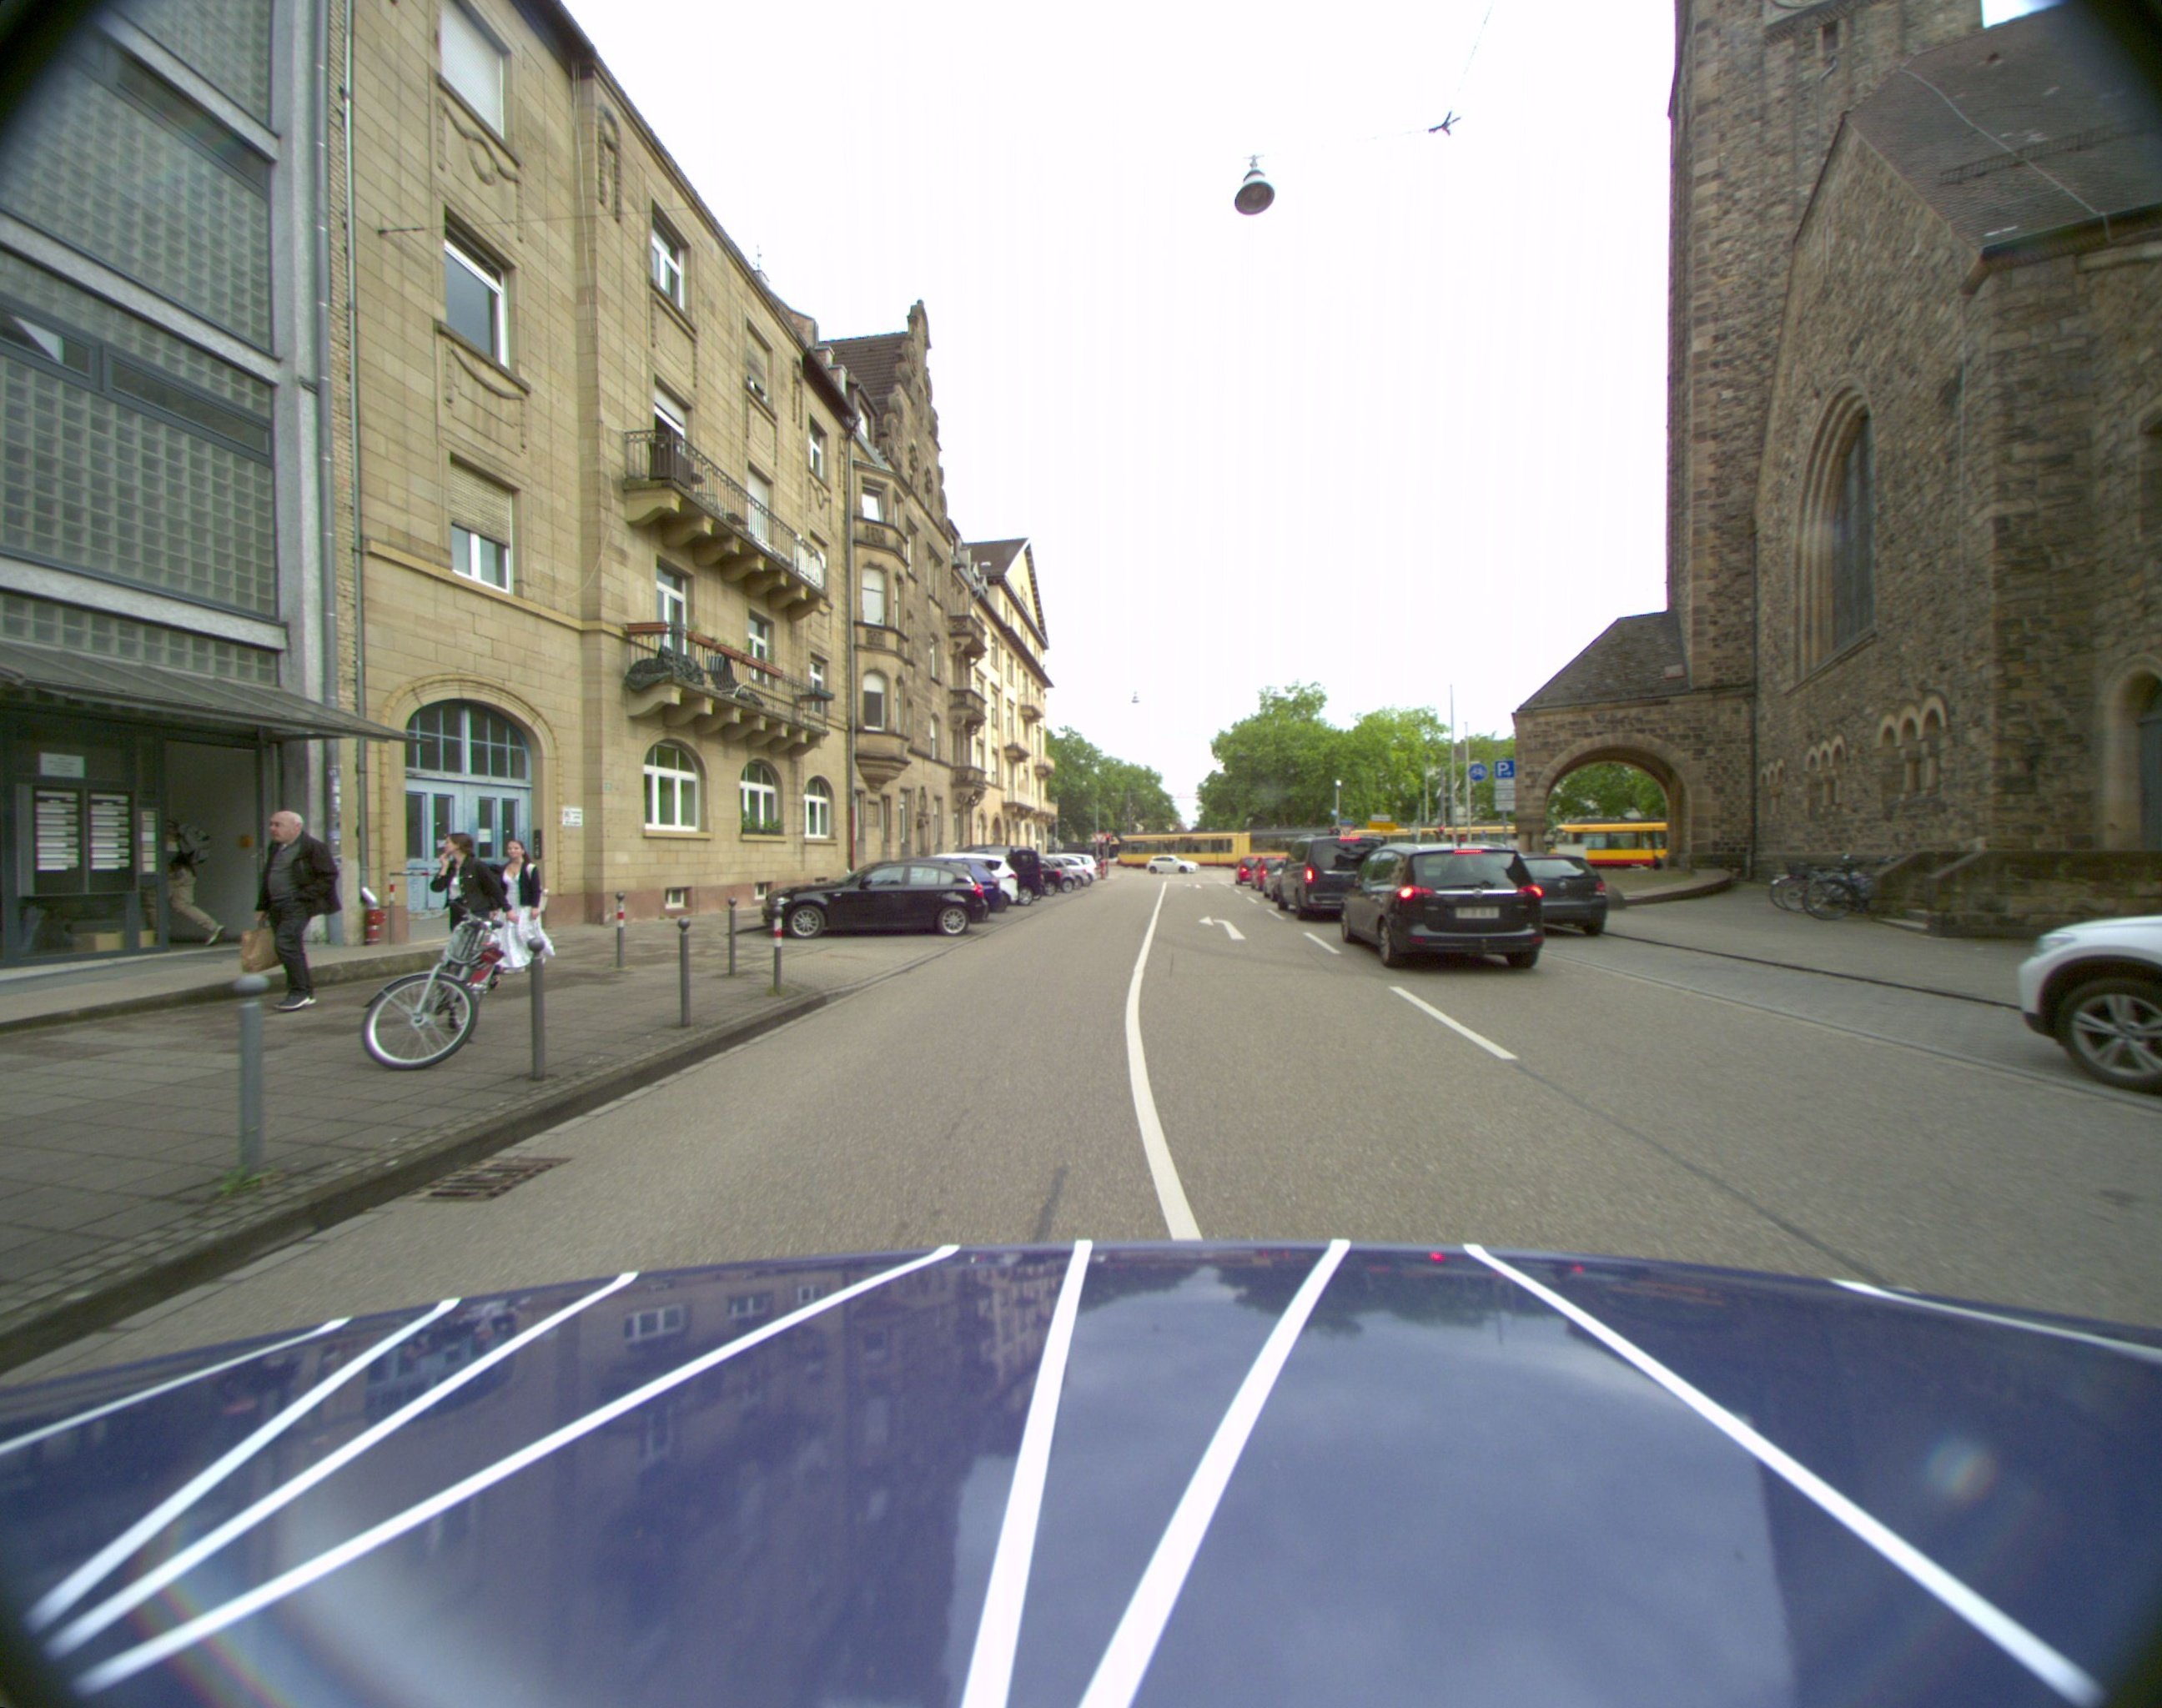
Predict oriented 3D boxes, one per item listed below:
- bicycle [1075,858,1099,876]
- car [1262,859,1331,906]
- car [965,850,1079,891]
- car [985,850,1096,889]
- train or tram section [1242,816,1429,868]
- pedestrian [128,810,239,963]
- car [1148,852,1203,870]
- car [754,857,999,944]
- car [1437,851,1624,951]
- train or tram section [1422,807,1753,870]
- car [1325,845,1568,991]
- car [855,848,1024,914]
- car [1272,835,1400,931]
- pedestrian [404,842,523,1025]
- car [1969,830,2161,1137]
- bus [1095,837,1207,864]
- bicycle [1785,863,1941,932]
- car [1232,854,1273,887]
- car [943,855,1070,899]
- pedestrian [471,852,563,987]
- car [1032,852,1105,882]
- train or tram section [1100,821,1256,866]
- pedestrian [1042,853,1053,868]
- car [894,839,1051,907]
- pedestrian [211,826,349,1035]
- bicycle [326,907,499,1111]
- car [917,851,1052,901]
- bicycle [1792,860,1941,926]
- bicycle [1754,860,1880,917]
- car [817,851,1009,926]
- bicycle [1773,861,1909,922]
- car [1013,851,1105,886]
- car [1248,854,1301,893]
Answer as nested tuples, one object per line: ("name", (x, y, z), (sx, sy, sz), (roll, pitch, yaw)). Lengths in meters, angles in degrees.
("bicycle", (0.399, 0.854, 51.278), (1.570, 1.121, 0.476), (3, 2, 6))
("car", (7.027, 0.873, 25.121), (1.707, 1.279, 4.044), (2, 1, 9))
("car", (-2.482, 0.719, 32.182), (4.474, 1.564, 1.743), (2, 0, -31))
("car", (-1.872, 0.739, 35.410), (4.760, 1.676, 1.932), (1, 1, -29))
("train or tram section", (21.798, -0.989, 65.995), (14.996, 4.070, 3.588), (0, 2, 33))
("pedestrian", (-10.506, 0.373, 8.909), (0.541, 1.734, 0.568), (-1, 2, 6))
("car", (7.623, 0.593, 61.637), (3.989, 1.387, 1.884), (-1, 0, 33))
("car", (-3.908, 0.886, 14.618), (4.267, 1.469, 1.681), (3, -1, -25))
("car", (8.213, 0.770, 14.297), (1.649, 1.500, 3.773), (-2, 1, 7))
("train or tram section", (36.383, -1.027, 56.387), (19.891, 4.070, 3.634), (0, 2, 33))
("car", (4.936, 0.747, 11.038), (1.848, 1.674, 4.551), (-1, 0, 8))
("car", (-3.722, 0.725, 20.178), (4.008, 1.592, 1.761), (3, -1, -33))
("car", (5.859, 0.603, 18.149), (1.915, 1.943, 5.287), (-1, 0, 8))
("pedestrian", (-5.896, 0.721, 7.286), (0.519, 1.653, 0.717), (1, 2, 4))
("car", (6.673, 0.691, 2.840), (1.847, 1.678, 4.435), (-1, 0, 7))
("bus", (7.721, -0.434, 85.376), (12.345, 2.840, 3.298), (0, 2, 33))
("bicycle", (13.749, 0.741, 13.424), (1.780, 1.145, 0.743), (-1, 1, 20))
("car", (8.534, 0.781, 38.028), (1.652, 1.519, 3.896), (2, 0, 8))
("car", (-2.837, 0.858, 29.288), (4.473, 1.543, 1.847), (1, 0, -31))
("pedestrian", (-6.635, 0.745, 8.965), (0.519, 1.502, 0.717), (1, 2, 4))
("car", (-0.705, 0.767, 44.209), (3.843, 1.552, 1.789), (3, 1, -39))
("train or tram section", (9.227, -0.949, 74.256), (14.996, 4.070, 3.661), (0, 2, 33))
("pedestrian", (-3.793, 0.747, 86.079), (0.876, 1.686, 0.744), (0, 2, 33))
("car", (-3.264, 0.607, 23.208), (4.291, 1.895, 1.875), (3, -1, -34))
("pedestrian", (-7.065, 0.646, 6.725), (0.644, 1.761, 0.541), (2, 2, 6))
("bicycle", (-4.784, 1.011, 5.556), (0.731, 1.098, 1.732), (1, 1, -34))
("car", (-3.325, 0.763, 26.219), (4.079, 1.445, 2.026), (3, 0, -31))
("bicycle", (14.554, 0.705, 14.134), (1.780, 1.160, 0.743), (-1, 1, 20))
("bicycle", (15.081, 0.696, 15.617), (1.781, 1.118, 0.568), (-1, 1, 20))
("car", (-3.881, 0.794, 17.506), (4.005, 1.524, 1.928), (3, -1, -22))
("bicycle", (14.841, 0.720, 14.891), (1.780, 1.124, 0.662), (-1, 1, 20))
("car", (-1.112, 0.735, 38.736), (4.231, 1.673, 1.911), (1, 1, -27))
("car", (8.062, 0.792, 31.954), (1.605, 1.448, 3.719), (2, 1, 6))
